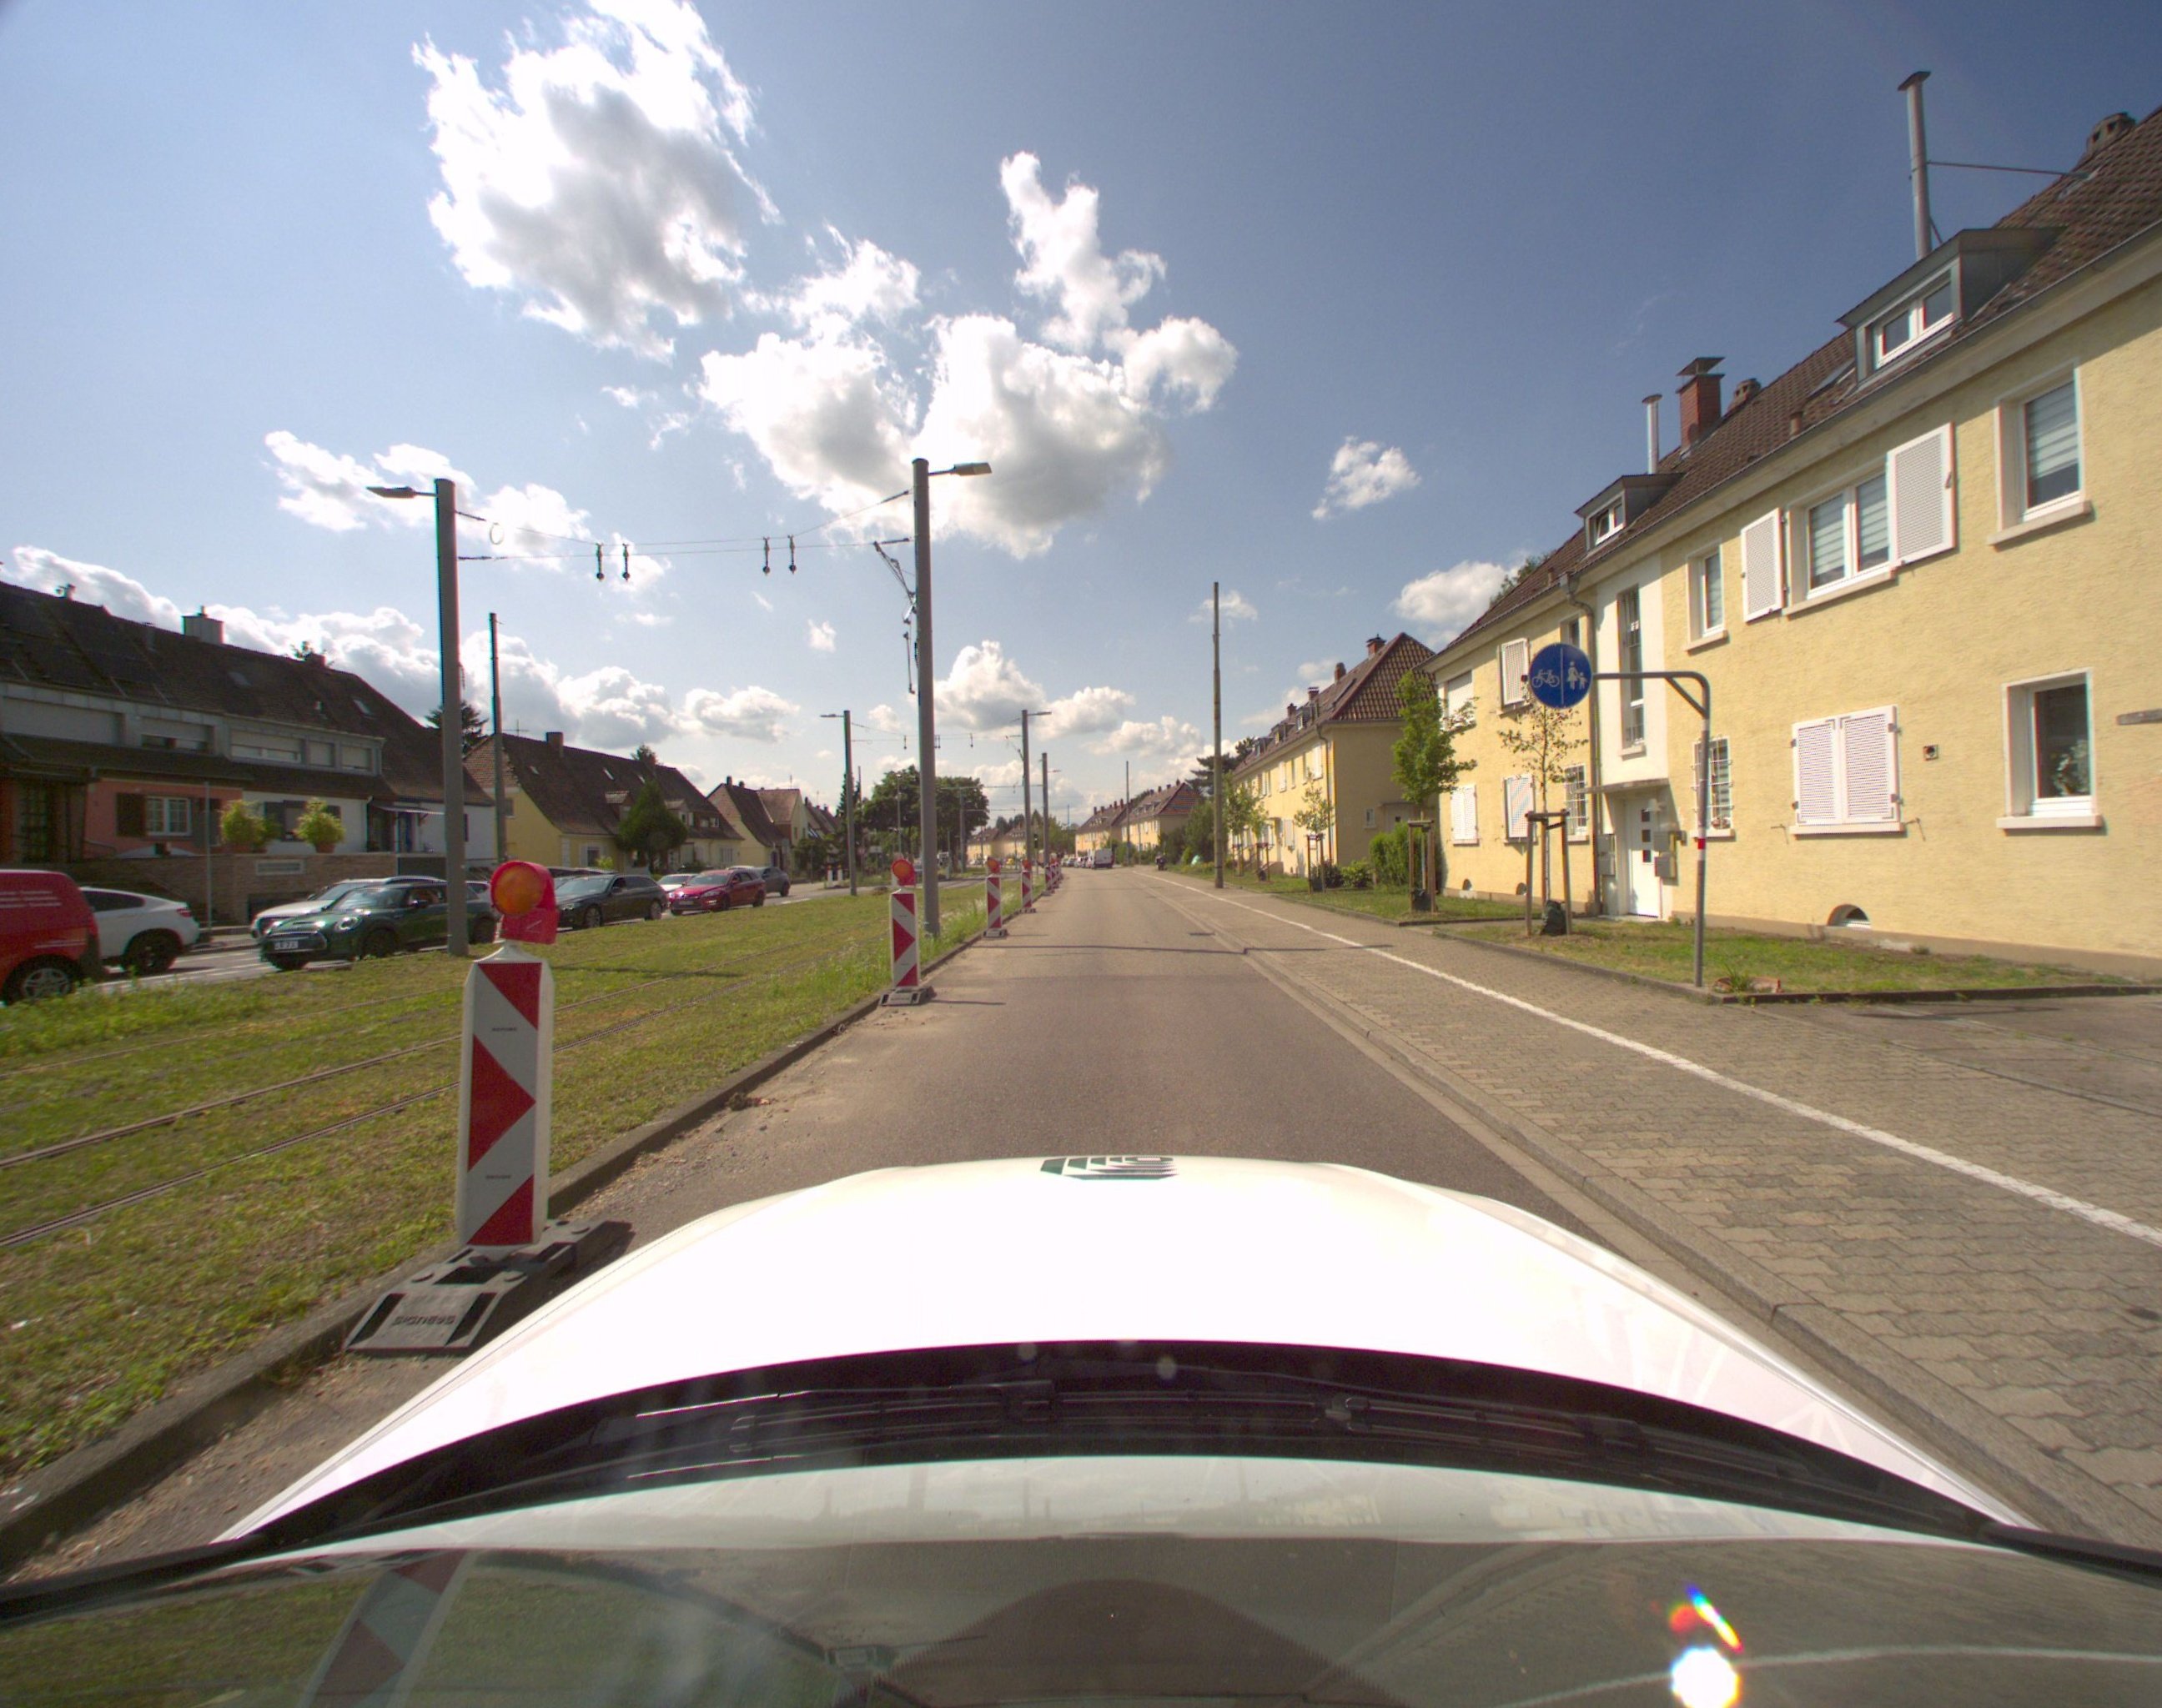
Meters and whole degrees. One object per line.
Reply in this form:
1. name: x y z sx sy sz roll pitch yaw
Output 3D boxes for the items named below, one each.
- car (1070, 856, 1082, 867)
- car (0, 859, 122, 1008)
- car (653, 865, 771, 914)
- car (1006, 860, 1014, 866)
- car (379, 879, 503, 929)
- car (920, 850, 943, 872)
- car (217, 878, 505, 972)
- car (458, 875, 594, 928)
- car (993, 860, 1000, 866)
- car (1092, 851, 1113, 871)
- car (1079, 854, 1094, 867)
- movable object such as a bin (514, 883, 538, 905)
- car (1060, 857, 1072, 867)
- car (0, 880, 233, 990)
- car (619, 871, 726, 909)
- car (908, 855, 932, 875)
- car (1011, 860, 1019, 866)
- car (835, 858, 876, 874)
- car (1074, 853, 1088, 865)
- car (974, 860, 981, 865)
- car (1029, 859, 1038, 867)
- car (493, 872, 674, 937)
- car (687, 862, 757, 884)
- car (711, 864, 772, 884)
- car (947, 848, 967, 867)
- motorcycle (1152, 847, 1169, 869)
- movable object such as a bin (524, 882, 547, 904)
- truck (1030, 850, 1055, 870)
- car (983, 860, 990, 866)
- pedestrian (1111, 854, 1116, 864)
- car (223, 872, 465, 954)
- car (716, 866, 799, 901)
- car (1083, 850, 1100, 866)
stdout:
1. car: -0.762 1.082 123.339 1.565 1.551 3.471 -2 0 -6
2. car: -13.840 0.973 8.786 1.727 1.782 4.404 -2 0 0
3. car: -12.952 1.193 28.973 1.837 1.494 4.857 -2 0 1
4. car: -16.693 2.116 190.718 1.261 1.426 2.648 -2 0 -19
5. car: -20.874 1.604 26.711 1.561 1.419 3.087 -2 0 1
6. car: -16.775 0.776 91.698 2.406 2.338 4.863 -2 0 -9
7. car: -13.396 1.241 15.555 1.909 1.419 3.999 -2 0 0
8. car: -17.895 1.487 26.489 1.837 1.494 3.656 -2 0 1
9. car: -20.920 2.201 201.795 1.261 1.350 2.648 -2 0 -19
10. car: 2.339 0.797 90.997 2.060 2.149 4.875 -2 0 -2
11. car: 0.724 0.812 105.749 1.565 1.551 3.781 -2 0 -6
12. movable object such as a bin: -24.584 1.761 36.077 0.679 0.933 0.517 -2 -1 -1
13. car: -2.445 1.235 129.623 1.565 1.551 3.471 -2 0 -6
14. car: -18.223 1.380 14.320 1.836 1.659 4.439 -2 0 2
15. car: -16.794 1.428 33.794 1.836 1.343 4.781 -2 0 3
16. car: -15.857 1.074 80.274 2.094 1.776 4.107 -2 0 -9
17. car: -15.022 2.117 186.063 1.260 1.426 2.650 -2 0 -17
18. car: -25.776 1.365 93.069 4.098 1.776 2.099 -2 -1 -3
19. car: -0.003 0.693 111.368 1.565 1.551 3.781 -2 0 -6
20. car: -28.170 2.293 220.827 1.262 1.426 2.647 -2 0 -20
21. car: -9.723 1.844 165.627 1.260 1.426 2.651 -2 0 -16
22. car: -13.255 1.273 22.150 1.837 1.413 4.916 -2 0 0
23. car: -25.908 1.357 58.857 4.093 1.466 1.991 -2 0 0
24. car: -26.002 1.513 62.424 3.973 1.398 1.704 -1 0 0
25. car: -15.826 0.416 103.876 2.406 2.370 4.864 -2 0 -9
26. motorcycle: 6.343 0.315 64.933 1.063 1.635 2.083 -2 -1 0
27. movable object such as a bin: -24.590 1.743 36.706 0.679 0.933 0.517 -2 -1 -1
28. truck: -7.264 1.154 153.152 2.645 3.494 9.387 -2 0 -15
29. car: -24.287 2.248 210.253 1.170 1.426 2.647 -2 -1 -20
30. pedestrian: 4.491 0.693 112.587 0.631 1.255 0.725 -2 -1 -8
31. car: -17.876 1.353 20.136 1.837 1.669 4.505 -2 0 0
32. car: -16.182 1.436 41.033 1.834 1.534 4.747 -2 0 7
33. car: 1.291 0.502 100.522 1.565 1.897 3.781 -2 0 -6
